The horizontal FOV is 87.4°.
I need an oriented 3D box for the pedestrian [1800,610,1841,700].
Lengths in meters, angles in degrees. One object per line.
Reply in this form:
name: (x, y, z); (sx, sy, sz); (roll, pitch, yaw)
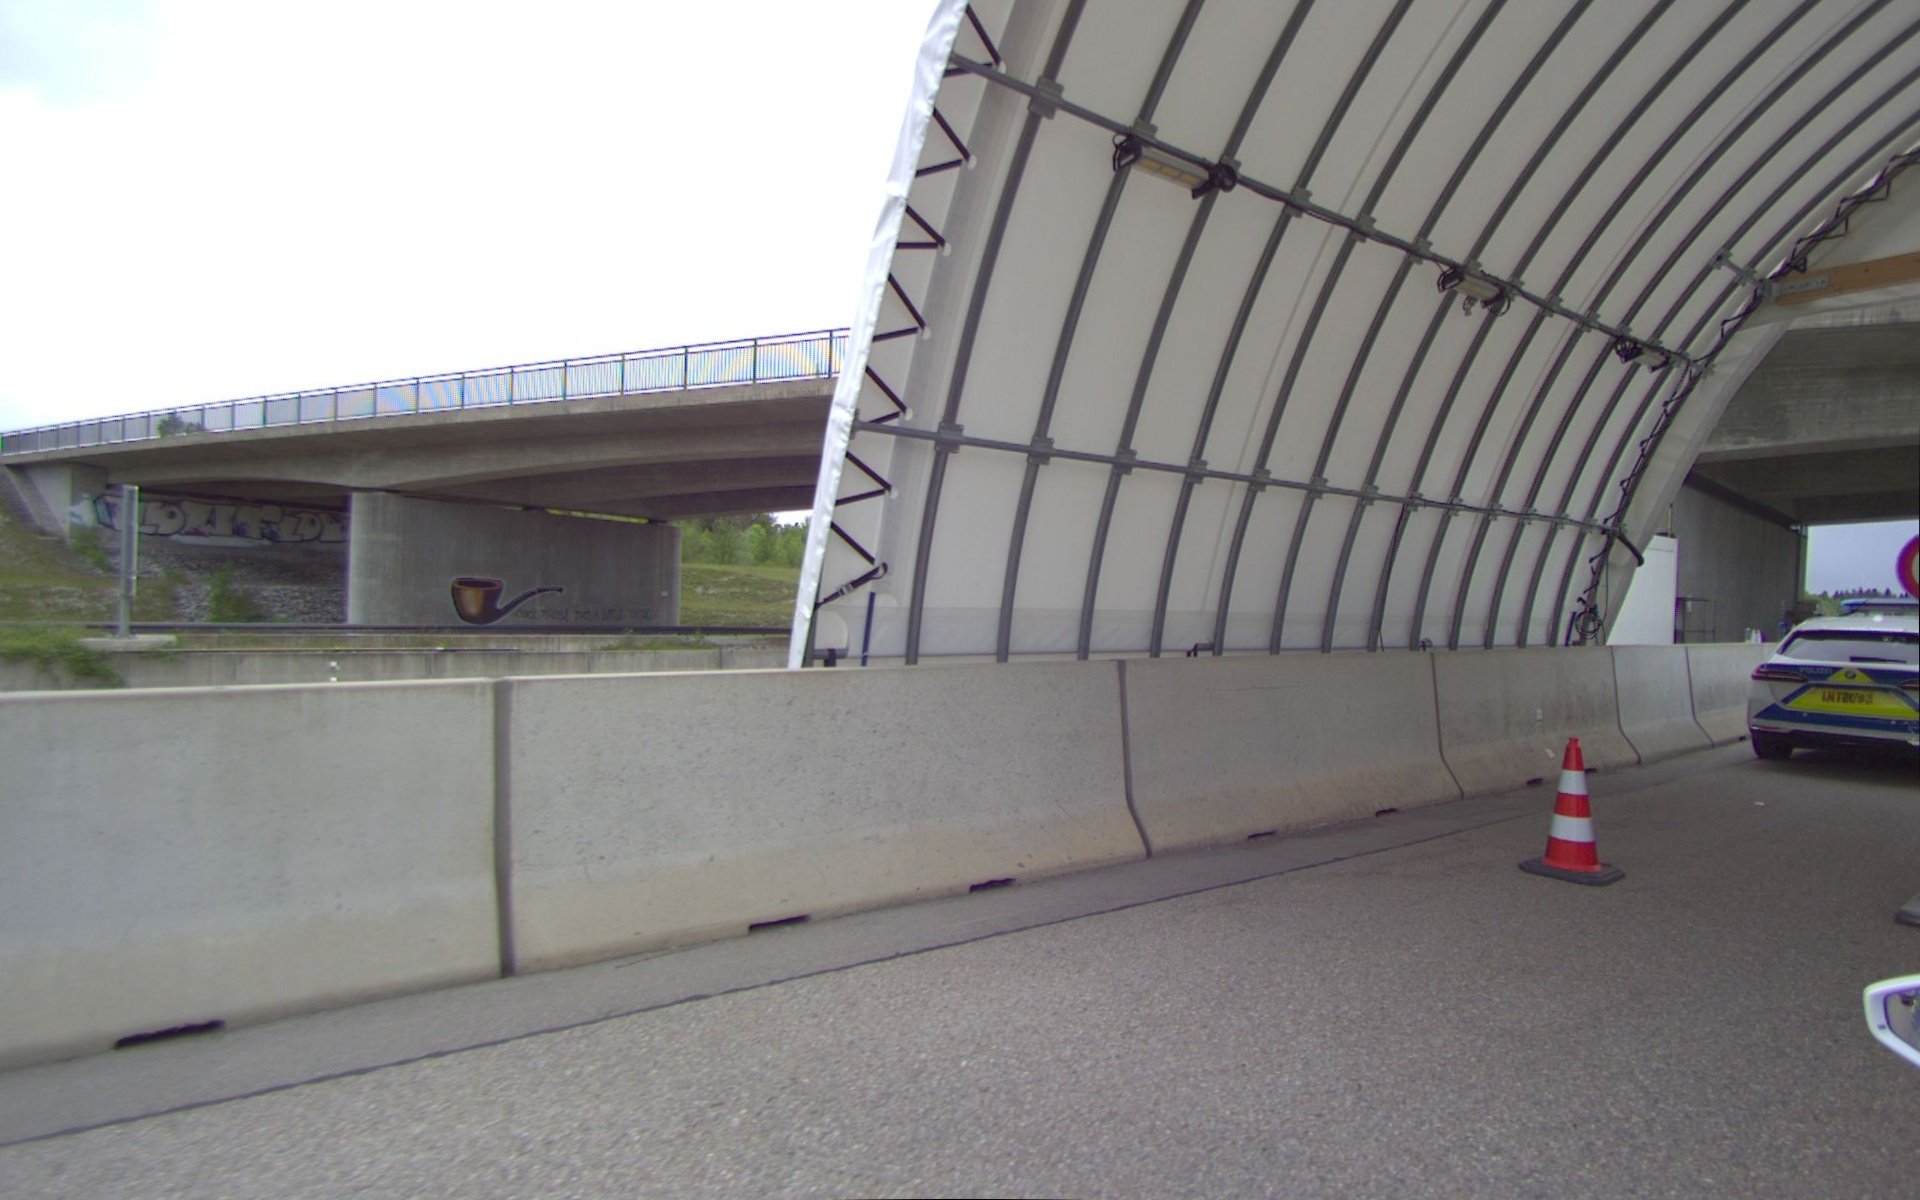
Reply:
pedestrian: (20.032, 1.267, 23.384); (0.650, 2.040, 0.619); (2, -1, -39)

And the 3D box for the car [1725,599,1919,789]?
car: (9.721, 0.889, 10.479); (3.965, 1.668, 1.863); (2, -2, -38)

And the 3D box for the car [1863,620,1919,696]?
car: (26.999, 1.561, 26.275); (1.811, 2.040, 4.806); (1, -1, -16)

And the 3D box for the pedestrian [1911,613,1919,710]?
pedestrian: (20.611, 1.305, 21.117); (0.683, 2.040, 0.699); (1, -1, -24)
